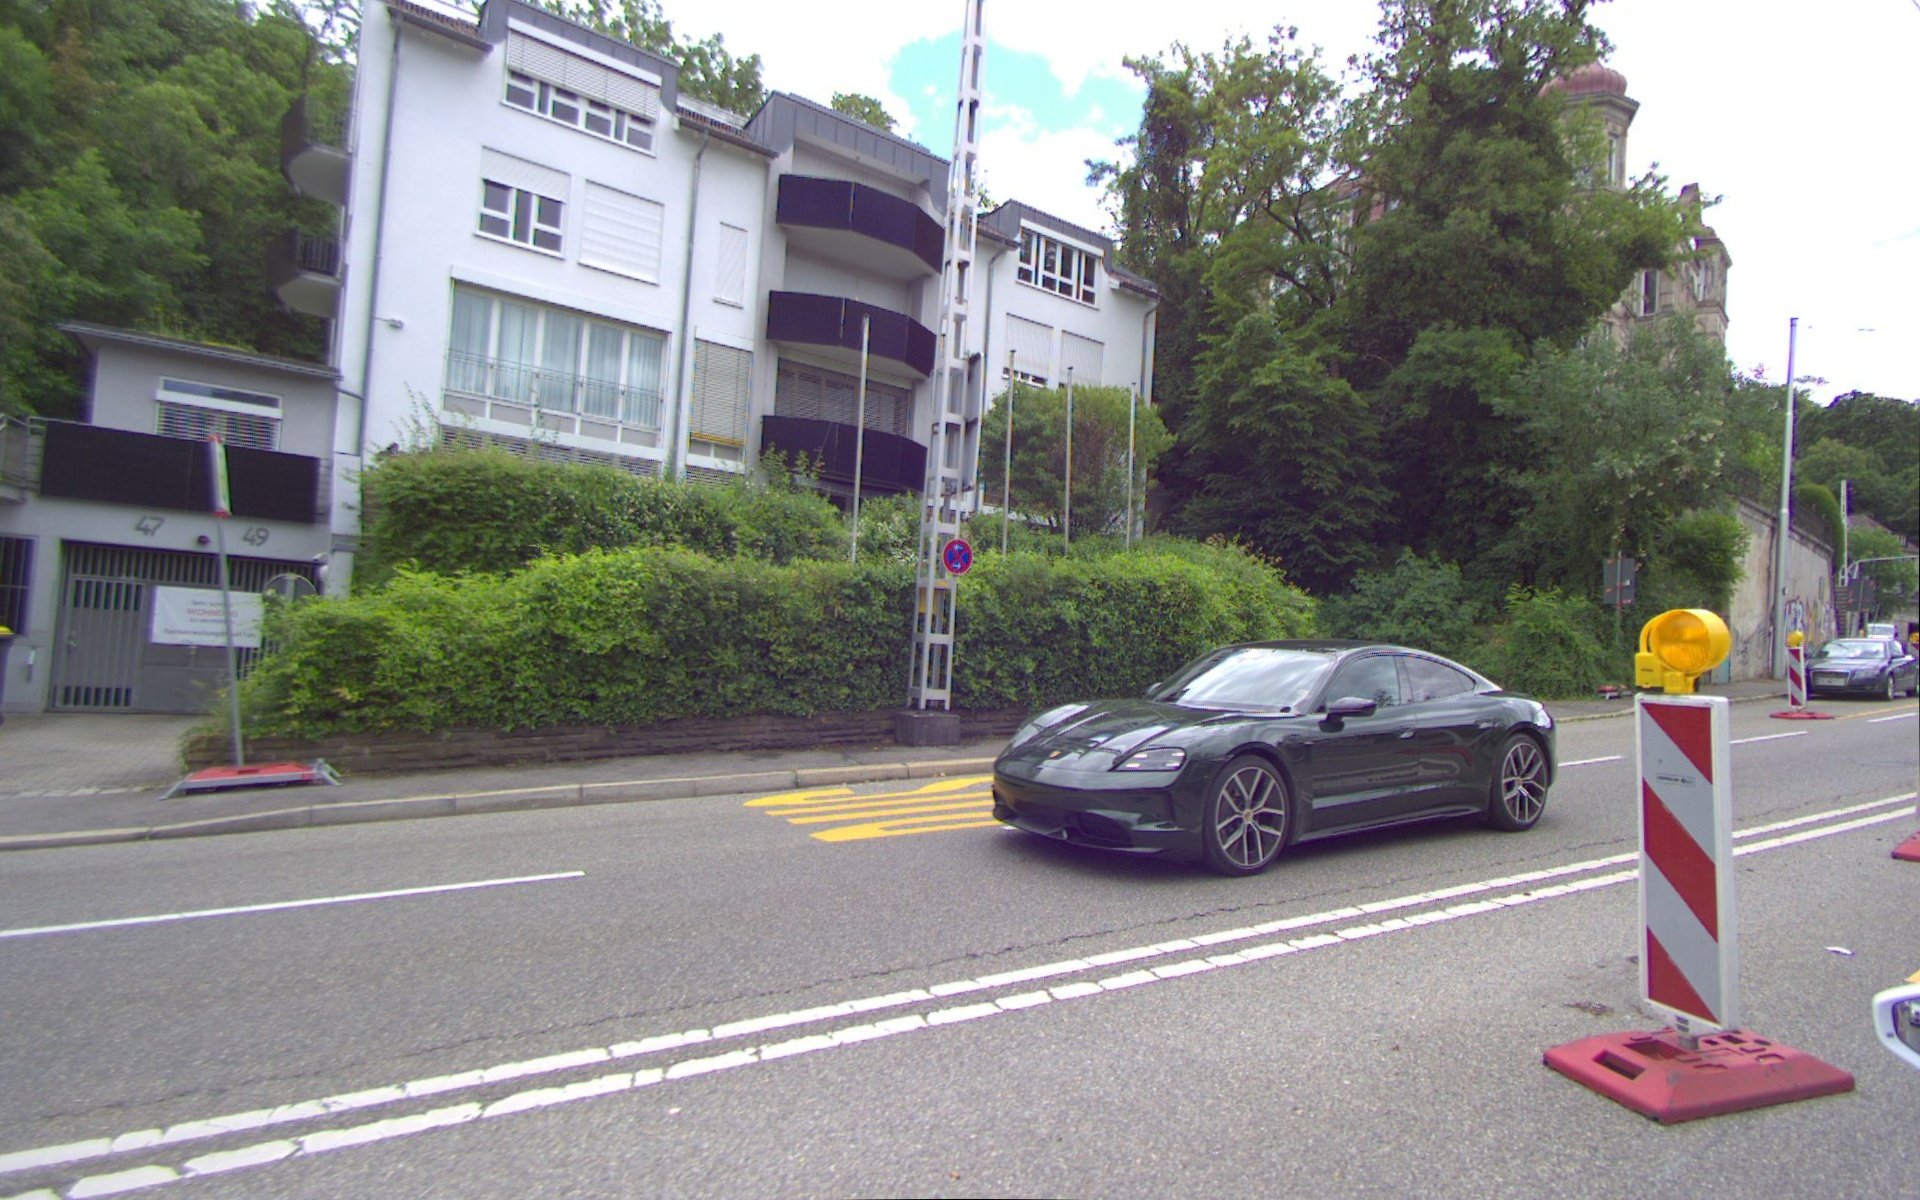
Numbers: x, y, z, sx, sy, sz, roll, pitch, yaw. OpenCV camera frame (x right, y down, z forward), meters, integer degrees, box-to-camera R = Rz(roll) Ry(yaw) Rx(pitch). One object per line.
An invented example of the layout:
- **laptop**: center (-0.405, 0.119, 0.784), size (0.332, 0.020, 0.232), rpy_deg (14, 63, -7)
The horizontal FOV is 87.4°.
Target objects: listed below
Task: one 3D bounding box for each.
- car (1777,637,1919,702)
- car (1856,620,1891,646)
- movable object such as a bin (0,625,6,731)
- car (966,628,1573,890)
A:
- **car**: center (21.234, 1.606, 23.865), size (4.346, 1.391, 1.787), rpy_deg (2, -3, -36)
- **car**: center (77.904, 2.819, 85.693), size (2.043, 2.216, 4.938), rpy_deg (-1, -2, 41)
- **movable object such as a bin**: center (-12.872, 0.992, 12.579), size (0.993, 1.390, 0.992), rpy_deg (2, -3, -23)
- **car**: center (2.370, 0.958, 7.358), size (4.387, 1.409, 1.812), rpy_deg (2, -3, -31)
